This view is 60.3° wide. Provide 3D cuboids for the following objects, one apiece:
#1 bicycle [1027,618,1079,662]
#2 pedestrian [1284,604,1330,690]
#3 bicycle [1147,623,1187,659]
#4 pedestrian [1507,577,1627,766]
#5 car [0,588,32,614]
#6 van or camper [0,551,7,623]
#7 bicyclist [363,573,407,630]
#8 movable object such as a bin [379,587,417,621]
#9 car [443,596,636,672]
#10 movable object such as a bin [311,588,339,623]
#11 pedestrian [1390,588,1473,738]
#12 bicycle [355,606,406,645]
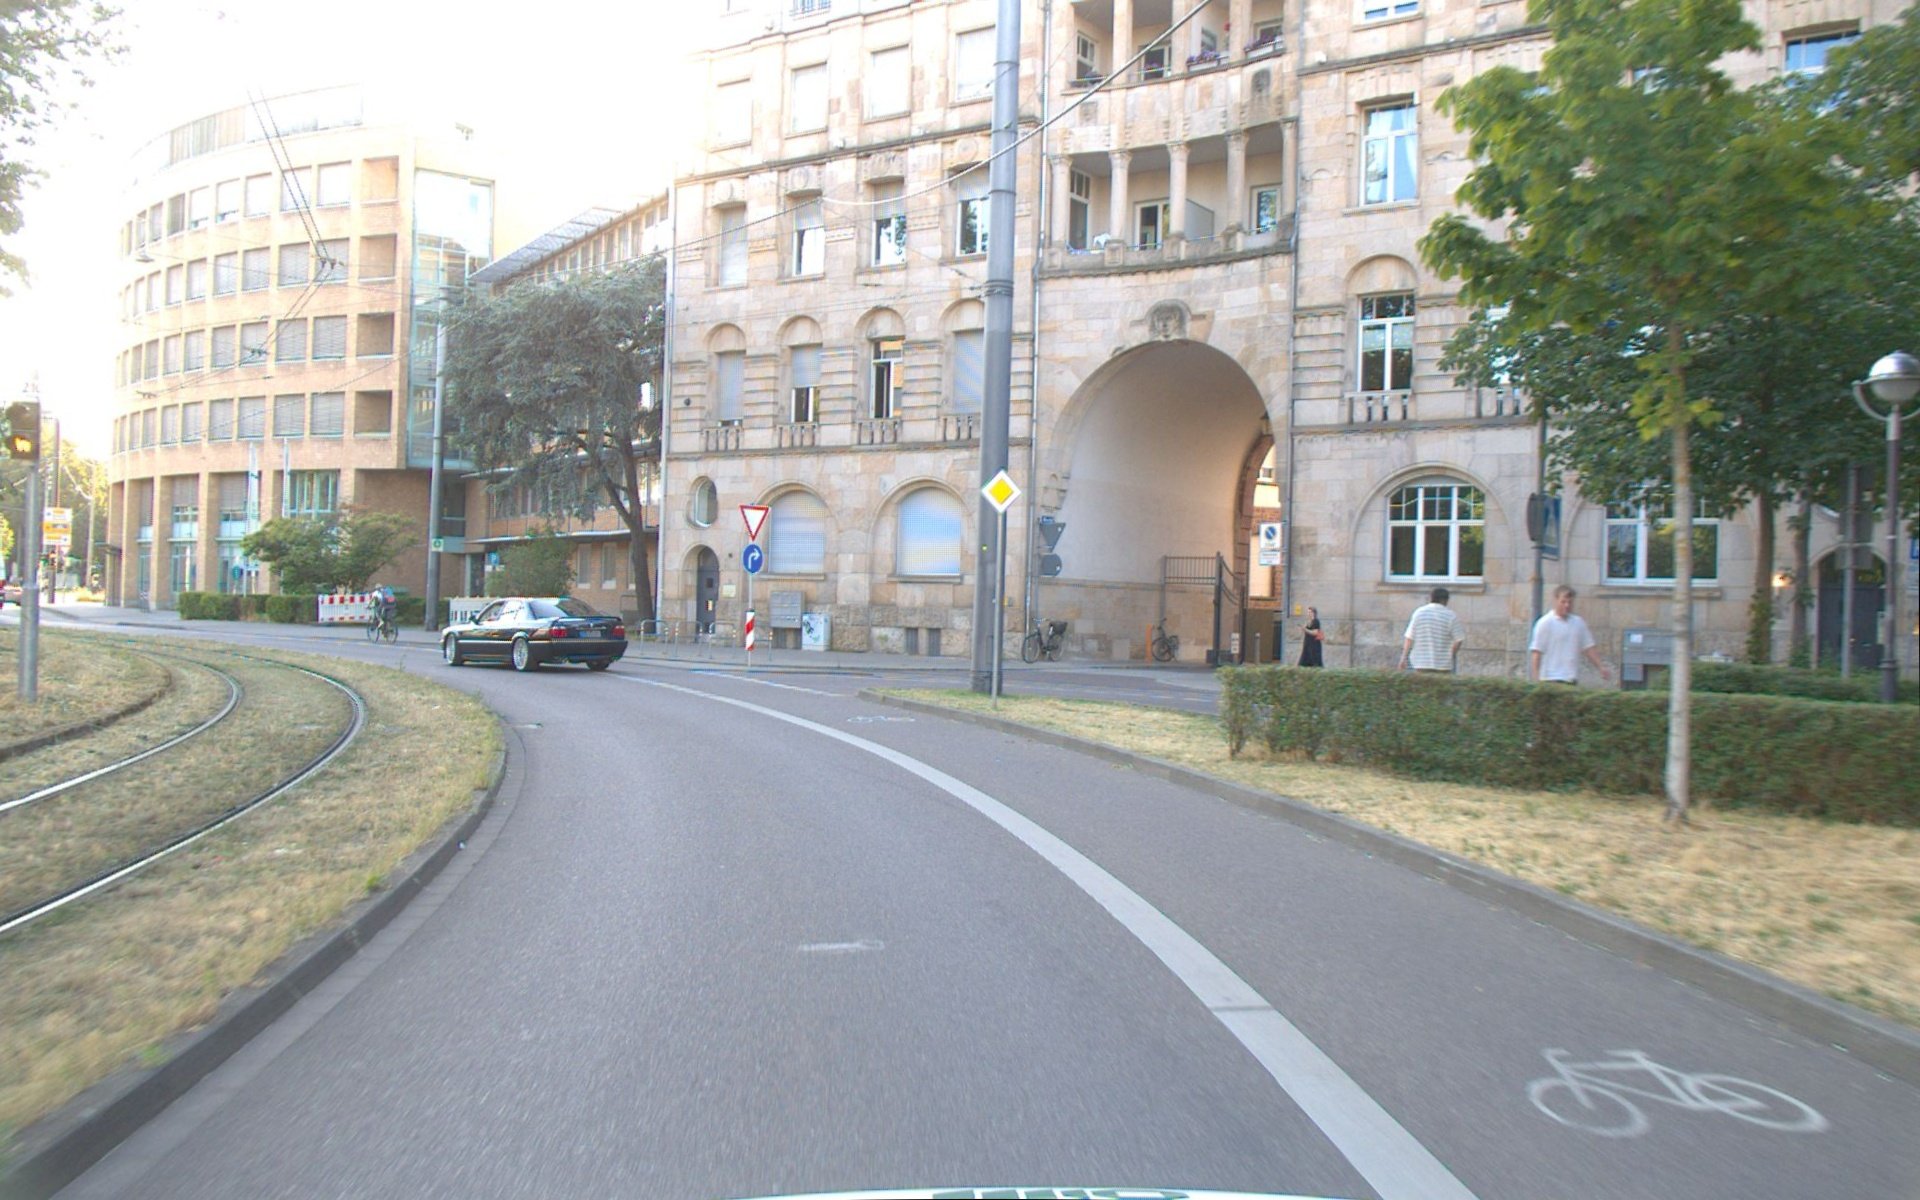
[{"bbox_3d":[2.385,1.015,42.253,0.420,1.091,1.850,2,1,34],"label":"bicycle"},{"bbox_3d":[7.210,0.975,34.353,0.708,1.739,0.574,2,1,39],"label":"pedestrian"},{"bbox_3d":[5.916,1.170,47.212,0.472,0.972,1.508,2,1,34],"label":"bicycle"},{"bbox_3d":[5.781,0.666,15.794,0.752,1.745,0.784,2,0,-8],"label":"pedestrian"},{"bbox_3d":[-56.401,0.057,98.355,1.767,1.378,4.217,3,-1,-33],"label":"car"},{"bbox_3d":[-37.924,-0.557,63.016,2.246,2.670,4.443,1,1,-37],"label":"van or camper"},{"bbox_3d":[-15.711,0.046,45.169,1.020,1.509,0.653,1,-3,43],"label":"bicyclist"},{"bbox_3d":[-25.077,0.169,73.802,1.333,1.449,0.911,1,1,-41],"label":"movable object such as a bin"},{"bbox_3d":[-8.283,0.611,32.315,1.820,1.378,4.571,0,0,-41],"label":"car"},{"bbox_3d":[-27.921,0.227,72.761,0.954,1.462,1.340,2,1,-14],"label":"movable object such as a bin"},{"bbox_3d":[5.908,0.781,20.753,0.582,1.823,0.816,2,0,-22],"label":"pedestrian"},{"bbox_3d":[-15.870,0.698,45.289,1.744,0.971,0.513,2,-1,42],"label":"bicycle"}]
